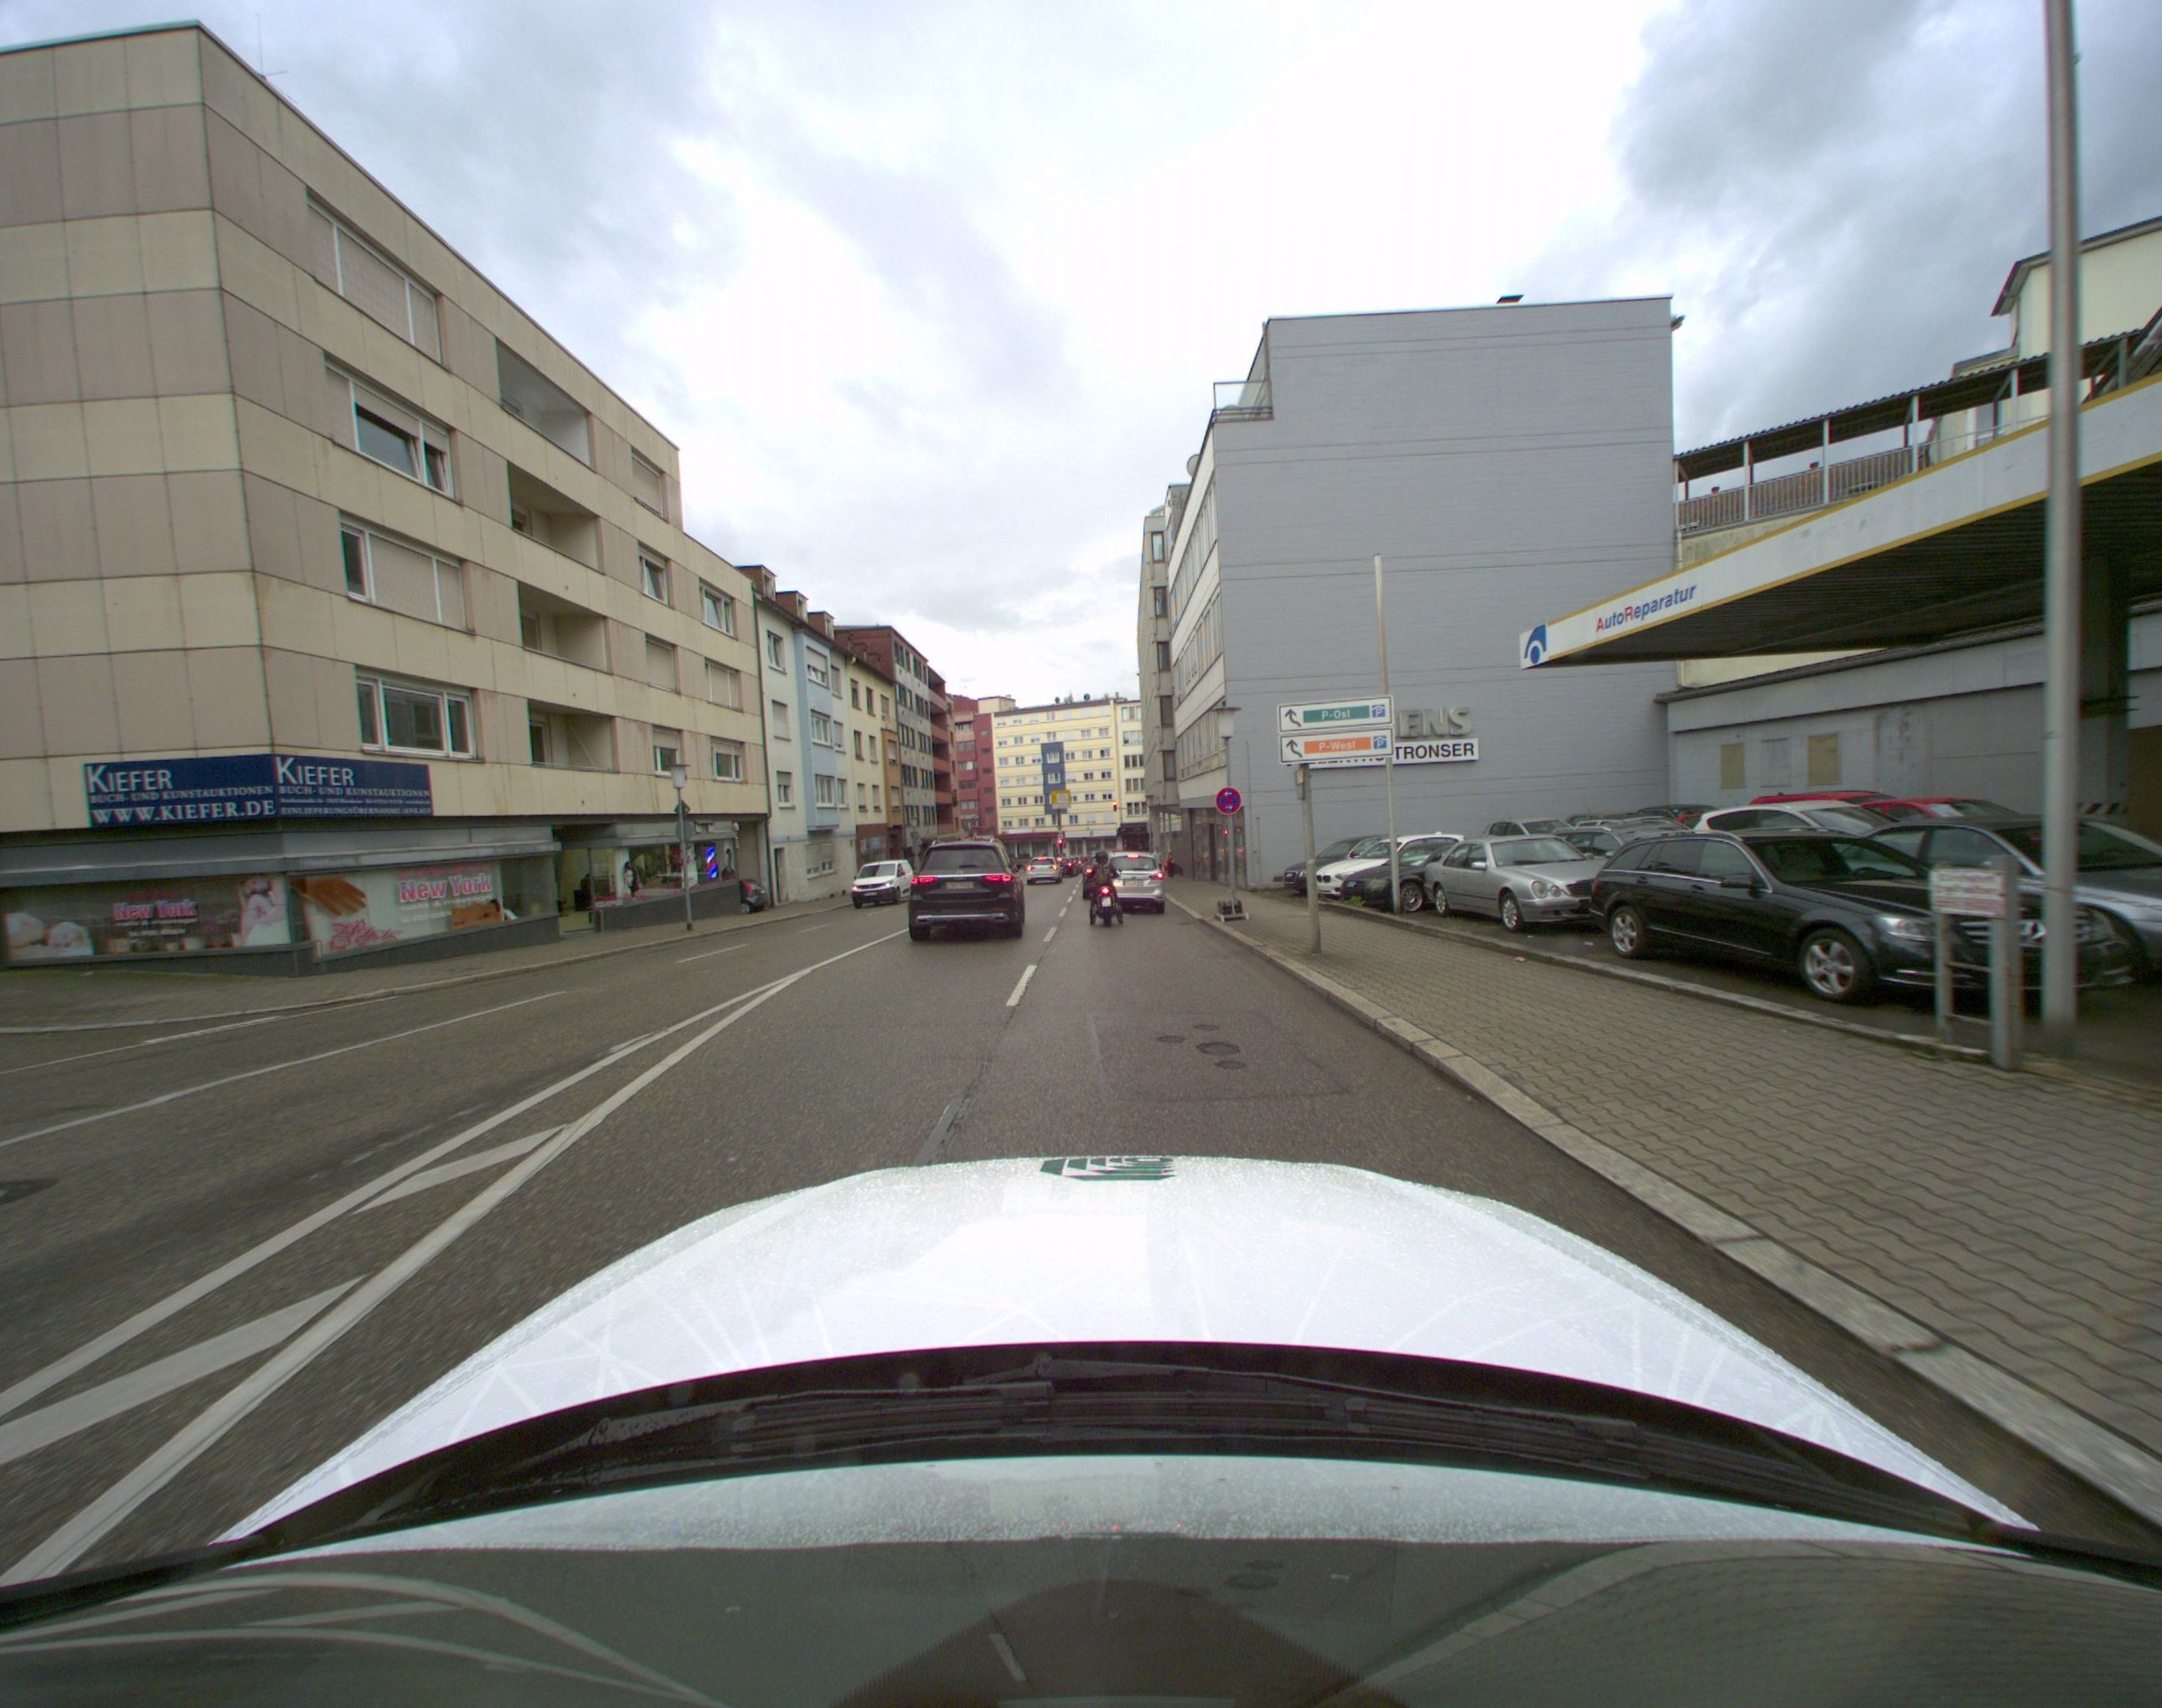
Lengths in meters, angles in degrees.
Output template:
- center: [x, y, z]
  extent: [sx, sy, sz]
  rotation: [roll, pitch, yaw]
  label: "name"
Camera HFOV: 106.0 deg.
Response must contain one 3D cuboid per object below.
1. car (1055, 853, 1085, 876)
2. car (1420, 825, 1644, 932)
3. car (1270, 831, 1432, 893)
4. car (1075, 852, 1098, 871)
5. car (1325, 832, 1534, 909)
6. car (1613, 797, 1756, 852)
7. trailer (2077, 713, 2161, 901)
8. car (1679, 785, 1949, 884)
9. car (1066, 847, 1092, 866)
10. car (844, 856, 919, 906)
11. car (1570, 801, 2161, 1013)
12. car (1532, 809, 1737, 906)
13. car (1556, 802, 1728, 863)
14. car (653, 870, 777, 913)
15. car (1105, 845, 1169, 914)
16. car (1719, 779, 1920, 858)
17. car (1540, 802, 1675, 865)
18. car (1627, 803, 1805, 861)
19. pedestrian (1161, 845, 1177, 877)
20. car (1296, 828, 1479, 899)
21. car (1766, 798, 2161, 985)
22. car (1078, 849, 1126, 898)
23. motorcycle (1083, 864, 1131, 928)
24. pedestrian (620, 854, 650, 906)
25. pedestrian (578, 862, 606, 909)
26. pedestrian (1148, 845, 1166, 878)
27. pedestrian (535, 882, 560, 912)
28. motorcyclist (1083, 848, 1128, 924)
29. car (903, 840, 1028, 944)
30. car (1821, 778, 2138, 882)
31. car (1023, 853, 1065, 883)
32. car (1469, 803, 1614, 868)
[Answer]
- center: [-0.734, 0.744, 58.687]
  extent: [1.877, 1.502, 4.402]
  rotation: [-1, 0, 2]
  label: "car"
- center: [7.240, 0.332, 13.585]
  extent: [1.560, 1.477, 4.071]
  rotation: [-1, 0, 1]
  label: "car"
- center: [7.543, 0.220, 22.827]
  extent: [3.997, 1.597, 1.788]
  rotation: [-1, -1, -18]
  label: "car"
- center: [0.514, 0.647, 71.370]
  extent: [1.877, 1.502, 4.402]
  rotation: [-1, 0, 2]
  label: "car"
- center: [7.548, 0.336, 17.698]
  extent: [3.997, 1.494, 1.723]
  rotation: [-1, -1, -18]
  label: "car"
- center: [17.090, -0.793, 23.247]
  extent: [1.448, 1.354, 3.349]
  rotation: [-1, -1, -4]
  label: "car"
- center: [14.723, -0.644, 9.807]
  extent: [1.423, 2.435, 3.205]
  rotation: [-3, 0, 0]
  label: "trailer"
- center: [12.779, -0.276, 14.514]
  extent: [1.548, 1.512, 3.518]
  rotation: [-1, -1, -2]
  label: "car"
- center: [-0.159, 0.171, 65.637]
  extent: [1.877, 1.502, 4.402]
  rotation: [-1, 0, 2]
  label: "car"
- center: [-8.141, 1.040, 33.622]
  extent: [1.863, 1.753, 4.399]
  rotation: [-5, 0, 0]
  label: "car"
- center: [6.993, 0.365, 8.062]
  extent: [1.789, 1.477, 4.489]
  rotation: [-1, 0, 3]
  label: "car"
- center: [9.737, 0.086, 14.661]
  extent: [1.520, 1.512, 3.395]
  rotation: [-1, -1, 4]
  label: "car"
- center: [12.711, -0.435, 18.693]
  extent: [1.447, 1.202, 3.387]
  rotation: [-1, -1, -4]
  label: "car"
- center: [-14.228, 1.426, 31.797]
  extent: [3.975, 1.499, 1.798]
  rotation: [-2, -1, -1]
  label: "car"
- center: [1.425, 0.615, 21.765]
  extent: [1.412, 1.651, 3.106]
  rotation: [-2, 1, -1]
  label: "car"
- center: [16.945, -0.743, 18.908]
  extent: [1.447, 1.597, 3.387]
  rotation: [-1, -1, -4]
  label: "car"
- center: [14.793, -0.511, 23.088]
  extent: [1.447, 1.597, 3.387]
  rotation: [-1, -1, -4]
  label: "car"
- center: [14.918, -0.460, 19.366]
  extent: [1.447, 1.202, 3.387]
  rotation: [-1, -1, -4]
  label: "car"
- center: [4.662, 0.361, 43.199]
  extent: [0.715, 1.611, 0.610]
  rotation: [-2, 2, -2]
  label: "pedestrian"
- center: [7.571, 0.225, 20.197]
  extent: [3.997, 1.597, 1.788]
  rotation: [-1, -1, -18]
  label: "car"
- center: [9.649, 0.250, 8.378]
  extent: [1.787, 1.477, 4.494]
  rotation: [-2, 0, 7]
  label: "car"
- center: [0.675, 0.625, 28.340]
  extent: [1.518, 1.548, 3.106]
  rotation: [-2, 1, -1]
  label: "car"
- center: [0.521, 0.854, 17.522]
  extent: [0.865, 1.186, 2.560]
  rotation: [-2, 1, -1]
  label: "motorcycle"
- center: [-15.310, 0.888, 27.971]
  extent: [0.598, 1.729, 0.571]
  rotation: [-2, 4, -2]
  label: "pedestrian"
- center: [-17.292, 1.114, 28.799]
  extent: [0.446, 1.562, 0.673]
  rotation: [-2, 4, 2]
  label: "pedestrian"
- center: [3.932, 0.387, 42.192]
  extent: [0.767, 1.611, 0.703]
  rotation: [-2, 2, -2]
  label: "pedestrian"
- center: [-18.812, 1.515, 28.722]
  extent: [0.478, 1.014, 0.449]
  rotation: [-2, 4, -1]
  label: "pedestrian"
- center: [0.509, 0.671, 17.503]
  extent: [0.864, 1.560, 0.763]
  rotation: [-2, -1, -2]
  label: "motorcyclist"
- center: [-2.127, 0.637, 16.312]
  extent: [2.016, 1.739, 4.743]
  rotation: [-1, 0, -3]
  label: "car"
- center: [15.012, -0.330, 13.913]
  extent: [1.446, 1.512, 3.518]
  rotation: [-1, -1, -2]
  label: "car"
- center: [-1.998, 0.753, 44.773]
  extent: [1.877, 1.502, 4.402]
  rotation: [-1, 0, 2]
  label: "car"
- center: [12.612, -0.434, 22.585]
  extent: [1.641, 1.597, 3.862]
  rotation: [-1, -1, -4]
  label: "car"
